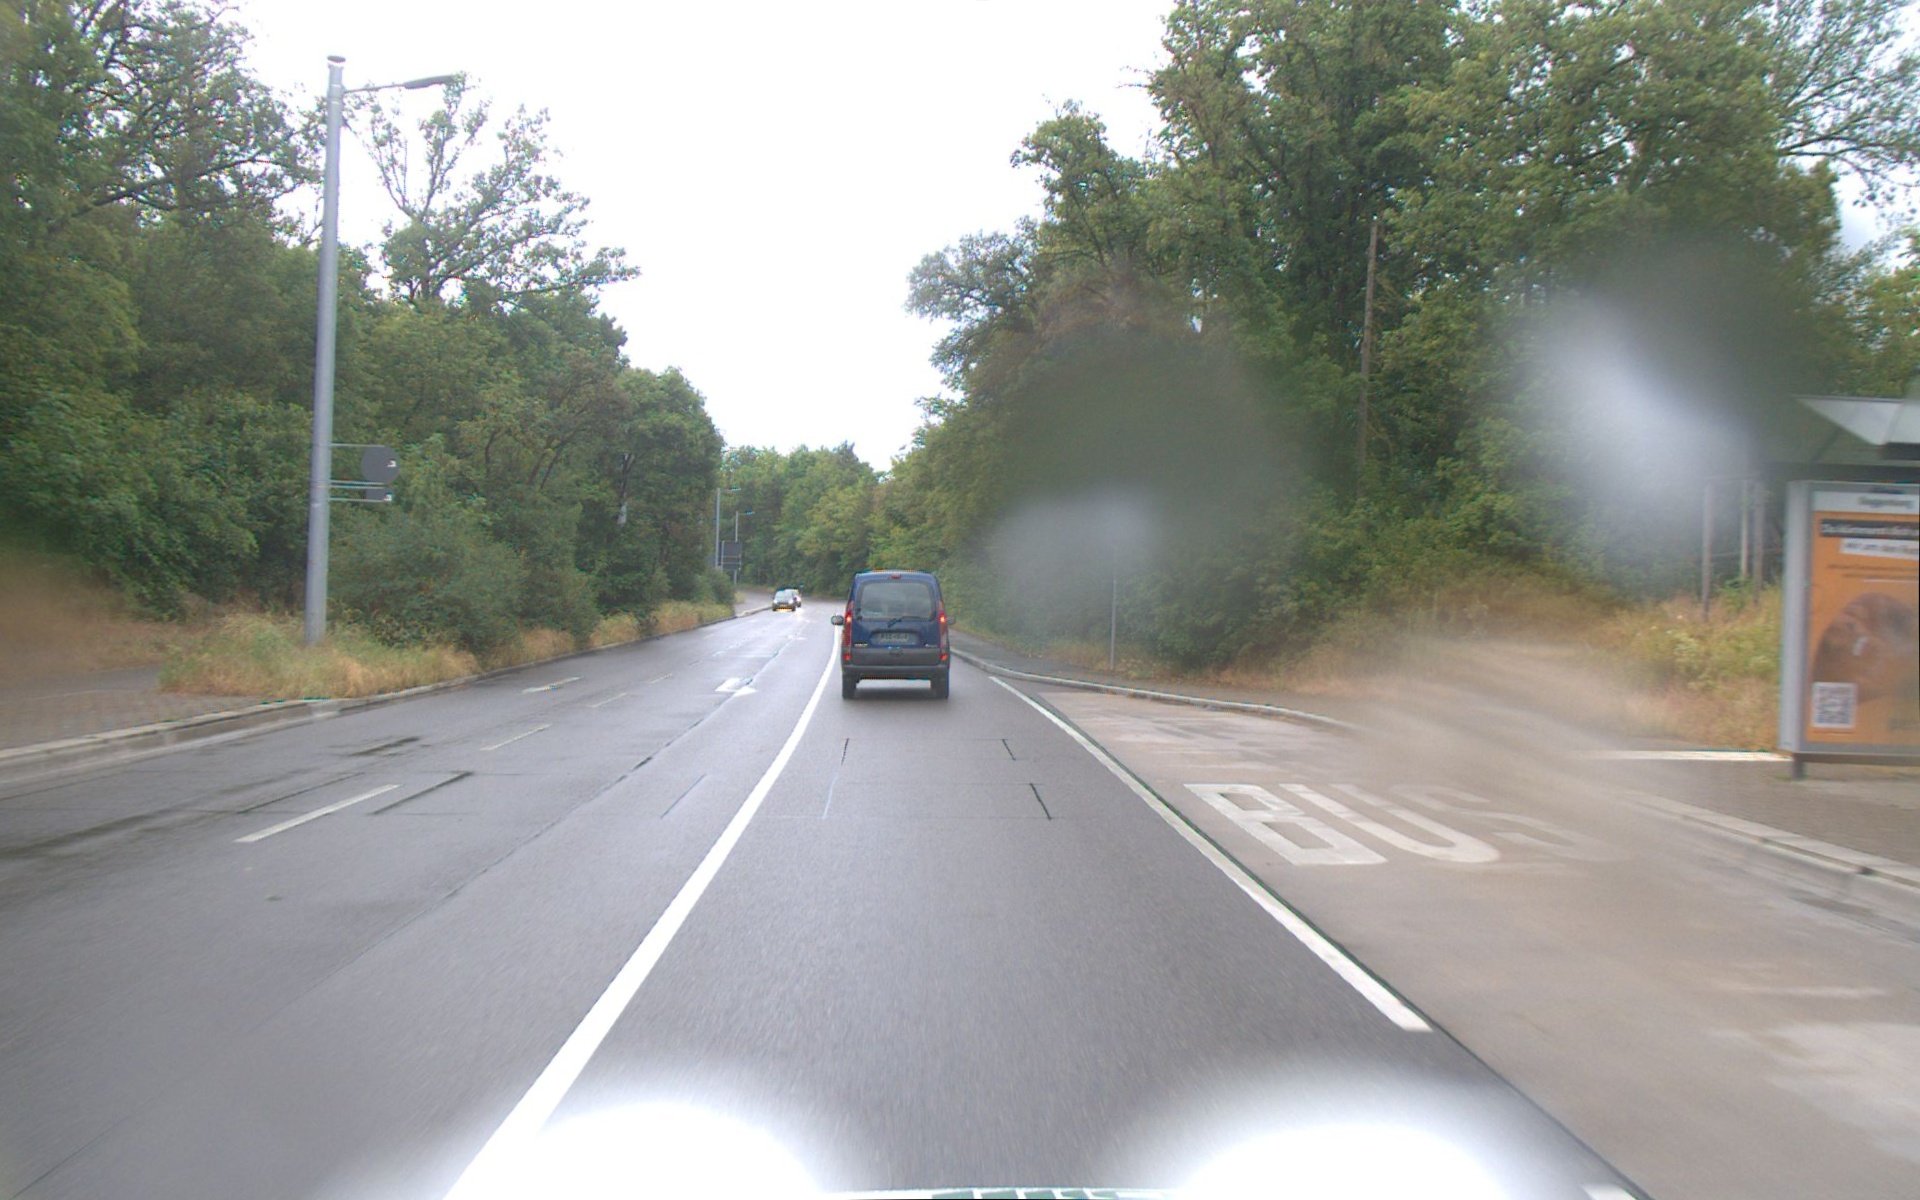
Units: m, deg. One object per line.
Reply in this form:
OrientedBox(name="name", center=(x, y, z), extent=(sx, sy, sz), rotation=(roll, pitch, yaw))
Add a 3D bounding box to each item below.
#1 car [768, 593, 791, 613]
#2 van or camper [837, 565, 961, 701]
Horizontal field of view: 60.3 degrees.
OrientedBox(name="car", center=(-13.579, 0.211, 124.667), extent=(1.567, 1.466, 3.987), rotation=(0, 0, -5))
OrientedBox(name="van or camper", center=(-0.900, 0.467, 25.456), extent=(1.678, 1.857, 3.999), rotation=(2, 0, -1))
